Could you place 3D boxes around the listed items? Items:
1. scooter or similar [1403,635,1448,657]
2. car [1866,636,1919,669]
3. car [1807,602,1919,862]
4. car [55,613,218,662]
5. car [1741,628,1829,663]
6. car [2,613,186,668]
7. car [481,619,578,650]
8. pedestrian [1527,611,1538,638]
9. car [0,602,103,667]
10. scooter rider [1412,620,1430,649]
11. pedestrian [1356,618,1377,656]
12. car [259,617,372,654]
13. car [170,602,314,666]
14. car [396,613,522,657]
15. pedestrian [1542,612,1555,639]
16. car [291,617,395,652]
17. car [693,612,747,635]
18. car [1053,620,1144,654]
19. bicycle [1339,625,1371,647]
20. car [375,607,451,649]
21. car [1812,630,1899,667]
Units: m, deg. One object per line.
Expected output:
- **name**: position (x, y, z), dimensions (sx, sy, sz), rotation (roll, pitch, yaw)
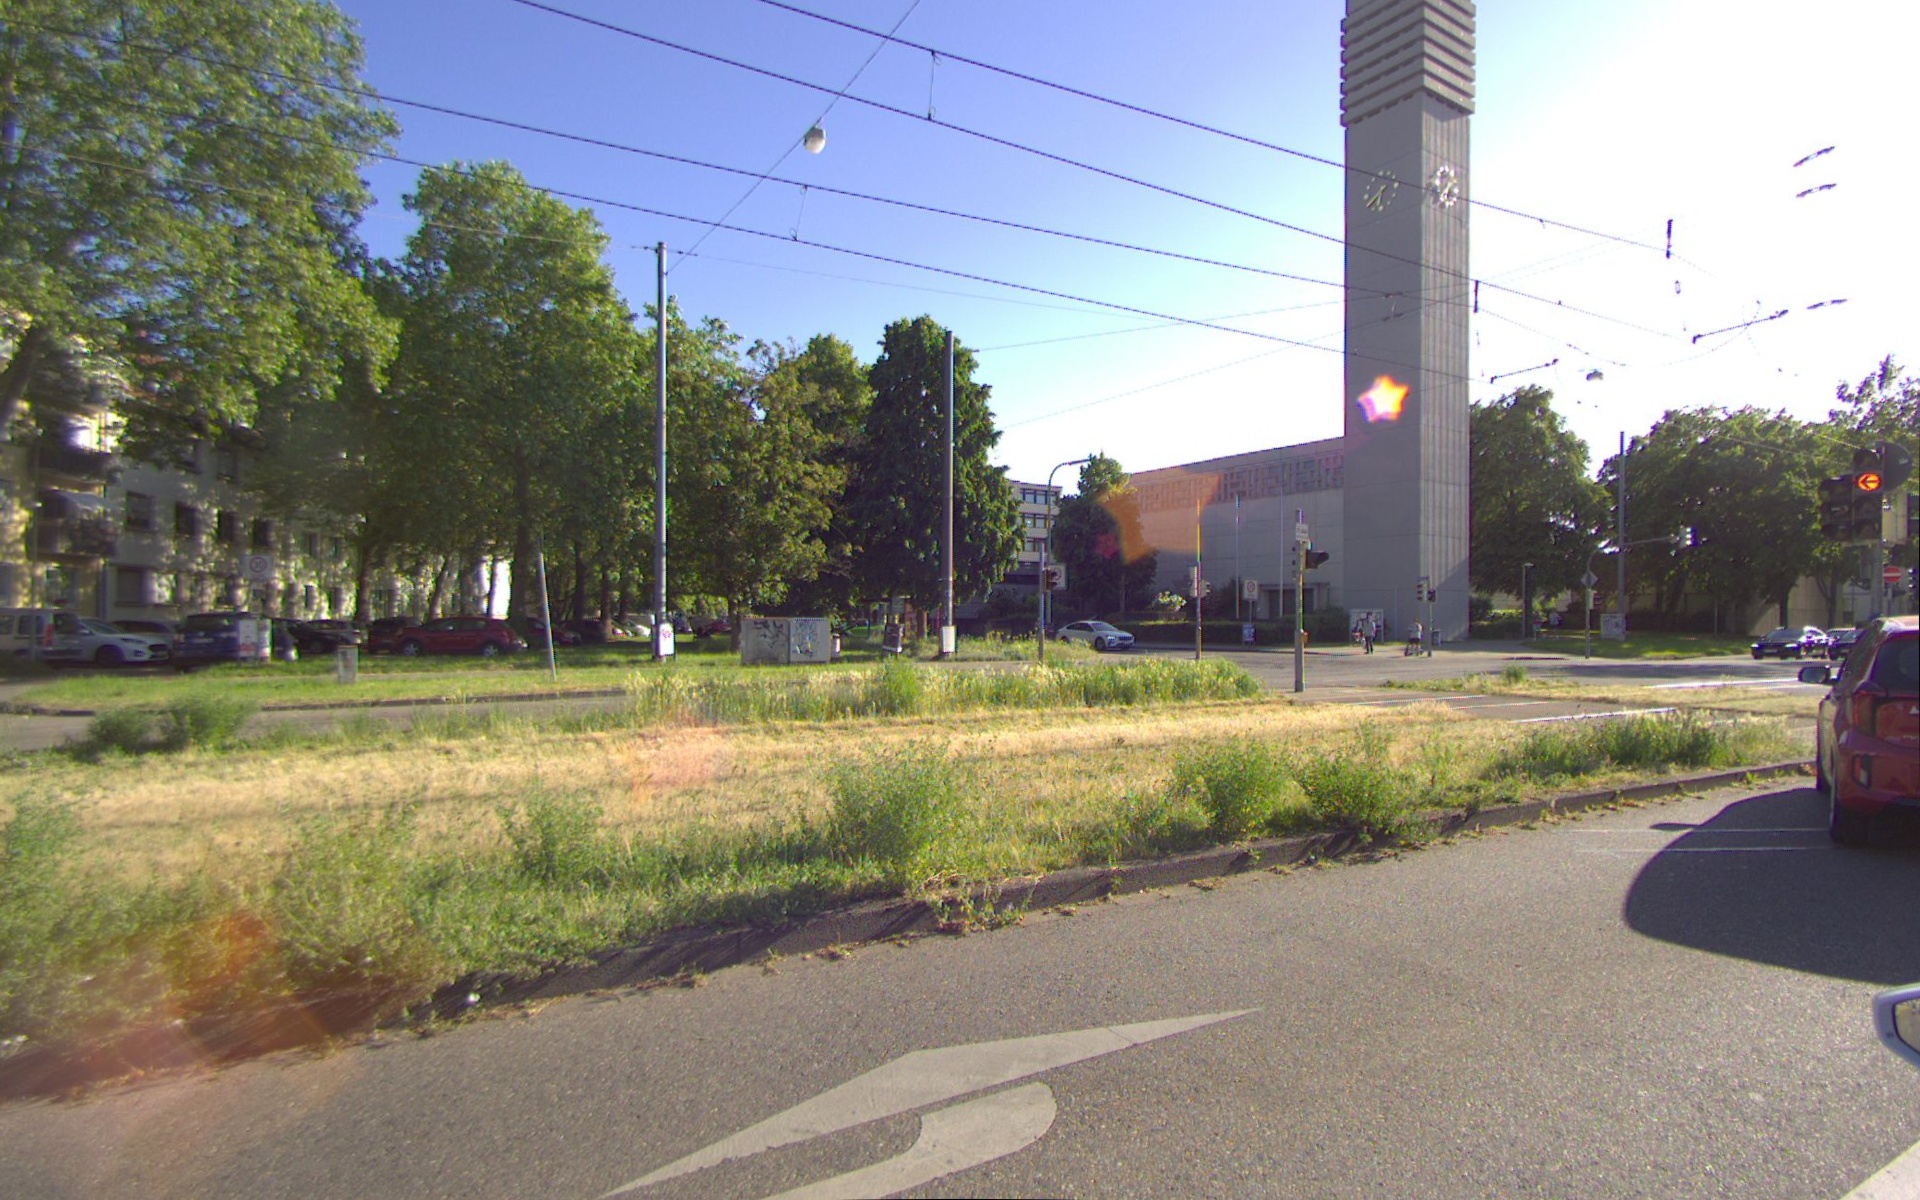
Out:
- **scooter or similar**: position (20.577, 2.023, 44.407), dimensions (1.717, 0.911, 0.560), rotation (-1, -1, 45)
- **car**: position (44.878, 2.470, 47.764), dimensions (3.869, 1.421, 1.558), rotation (1, 1, -31)
- **car**: position (7.148, 0.805, 7.100), dimensions (1.674, 1.528, 3.682), rotation (2, 1, 39)
- **car**: position (-28.802, 1.344, 35.249), dimensions (3.929, 1.590, 1.879), rotation (1, -3, -11)
- **car**: position (38.247, 2.068, 46.568), dimensions (4.310, 1.553, 1.798), rotation (1, -1, -31)
- **car**: position (-28.070, 1.322, 32.701), dimensions (3.989, 1.686, 1.997), rotation (1, -2, -11)
- **car**: position (-20.096, 1.610, 47.024), dimensions (3.932, 1.400, 1.581), rotation (0, -1, -14)
- **pedestrian**: position (33.614, 1.446, 58.944), dimensions (0.302, 1.581, 0.433), rotation (1, 2, -34)
- **car**: position (-28.264, 1.016, 29.659), dimensions (3.929, 1.867, 1.997), rotation (1, -3, -11)
- **scooter rider**: position (20.428, 1.509, 44.540), dimensions (0.520, 1.234, 0.584), rotation (3, 2, 44)
- **pedestrian**: position (18.673, 1.692, 46.135), dimensions (0.735, 1.689, 0.442), rotation (1, 2, -21)
- **car**: position (-30.770, 1.699, 48.068), dimensions (3.989, 1.686, 1.997), rotation (1, -2, -11)
- **car**: position (-19.657, 0.889, 27.718), dimensions (1.719, 1.622, 3.992), rotation (0, -1, -11)
- **car**: position (-17.319, 1.203, 34.870), dimensions (3.585, 1.399, 1.641), rotation (1, 1, -13)
- **pedestrian**: position (34.194, 1.480, 58.336), dimensions (0.483, 1.527, 0.432), rotation (1, 2, -34)
- **car**: position (-31.508, 1.790, 51.389), dimensions (3.989, 1.686, 1.997), rotation (1, -2, -11)
- **car**: position (-19.231, 1.901, 80.559), dimensions (3.953, 1.795, 1.659), rotation (1, -1, -30)
- **car**: position (7.005, 1.852, 51.245), dimensions (1.980, 1.420, 4.671), rotation (1, 1, -35)
- **bicycle**: position (20.457, 1.868, 52.008), dimensions (1.659, 1.060, 0.490), rotation (1, 1, -23)
- **car**: position (-23.212, 1.175, 42.797), dimensions (1.719, 1.706, 3.992), rotation (0, -1, -11)
- **car**: position (39.979, 2.142, 44.845), dimensions (4.310, 1.553, 1.679), rotation (1, -1, -31)
